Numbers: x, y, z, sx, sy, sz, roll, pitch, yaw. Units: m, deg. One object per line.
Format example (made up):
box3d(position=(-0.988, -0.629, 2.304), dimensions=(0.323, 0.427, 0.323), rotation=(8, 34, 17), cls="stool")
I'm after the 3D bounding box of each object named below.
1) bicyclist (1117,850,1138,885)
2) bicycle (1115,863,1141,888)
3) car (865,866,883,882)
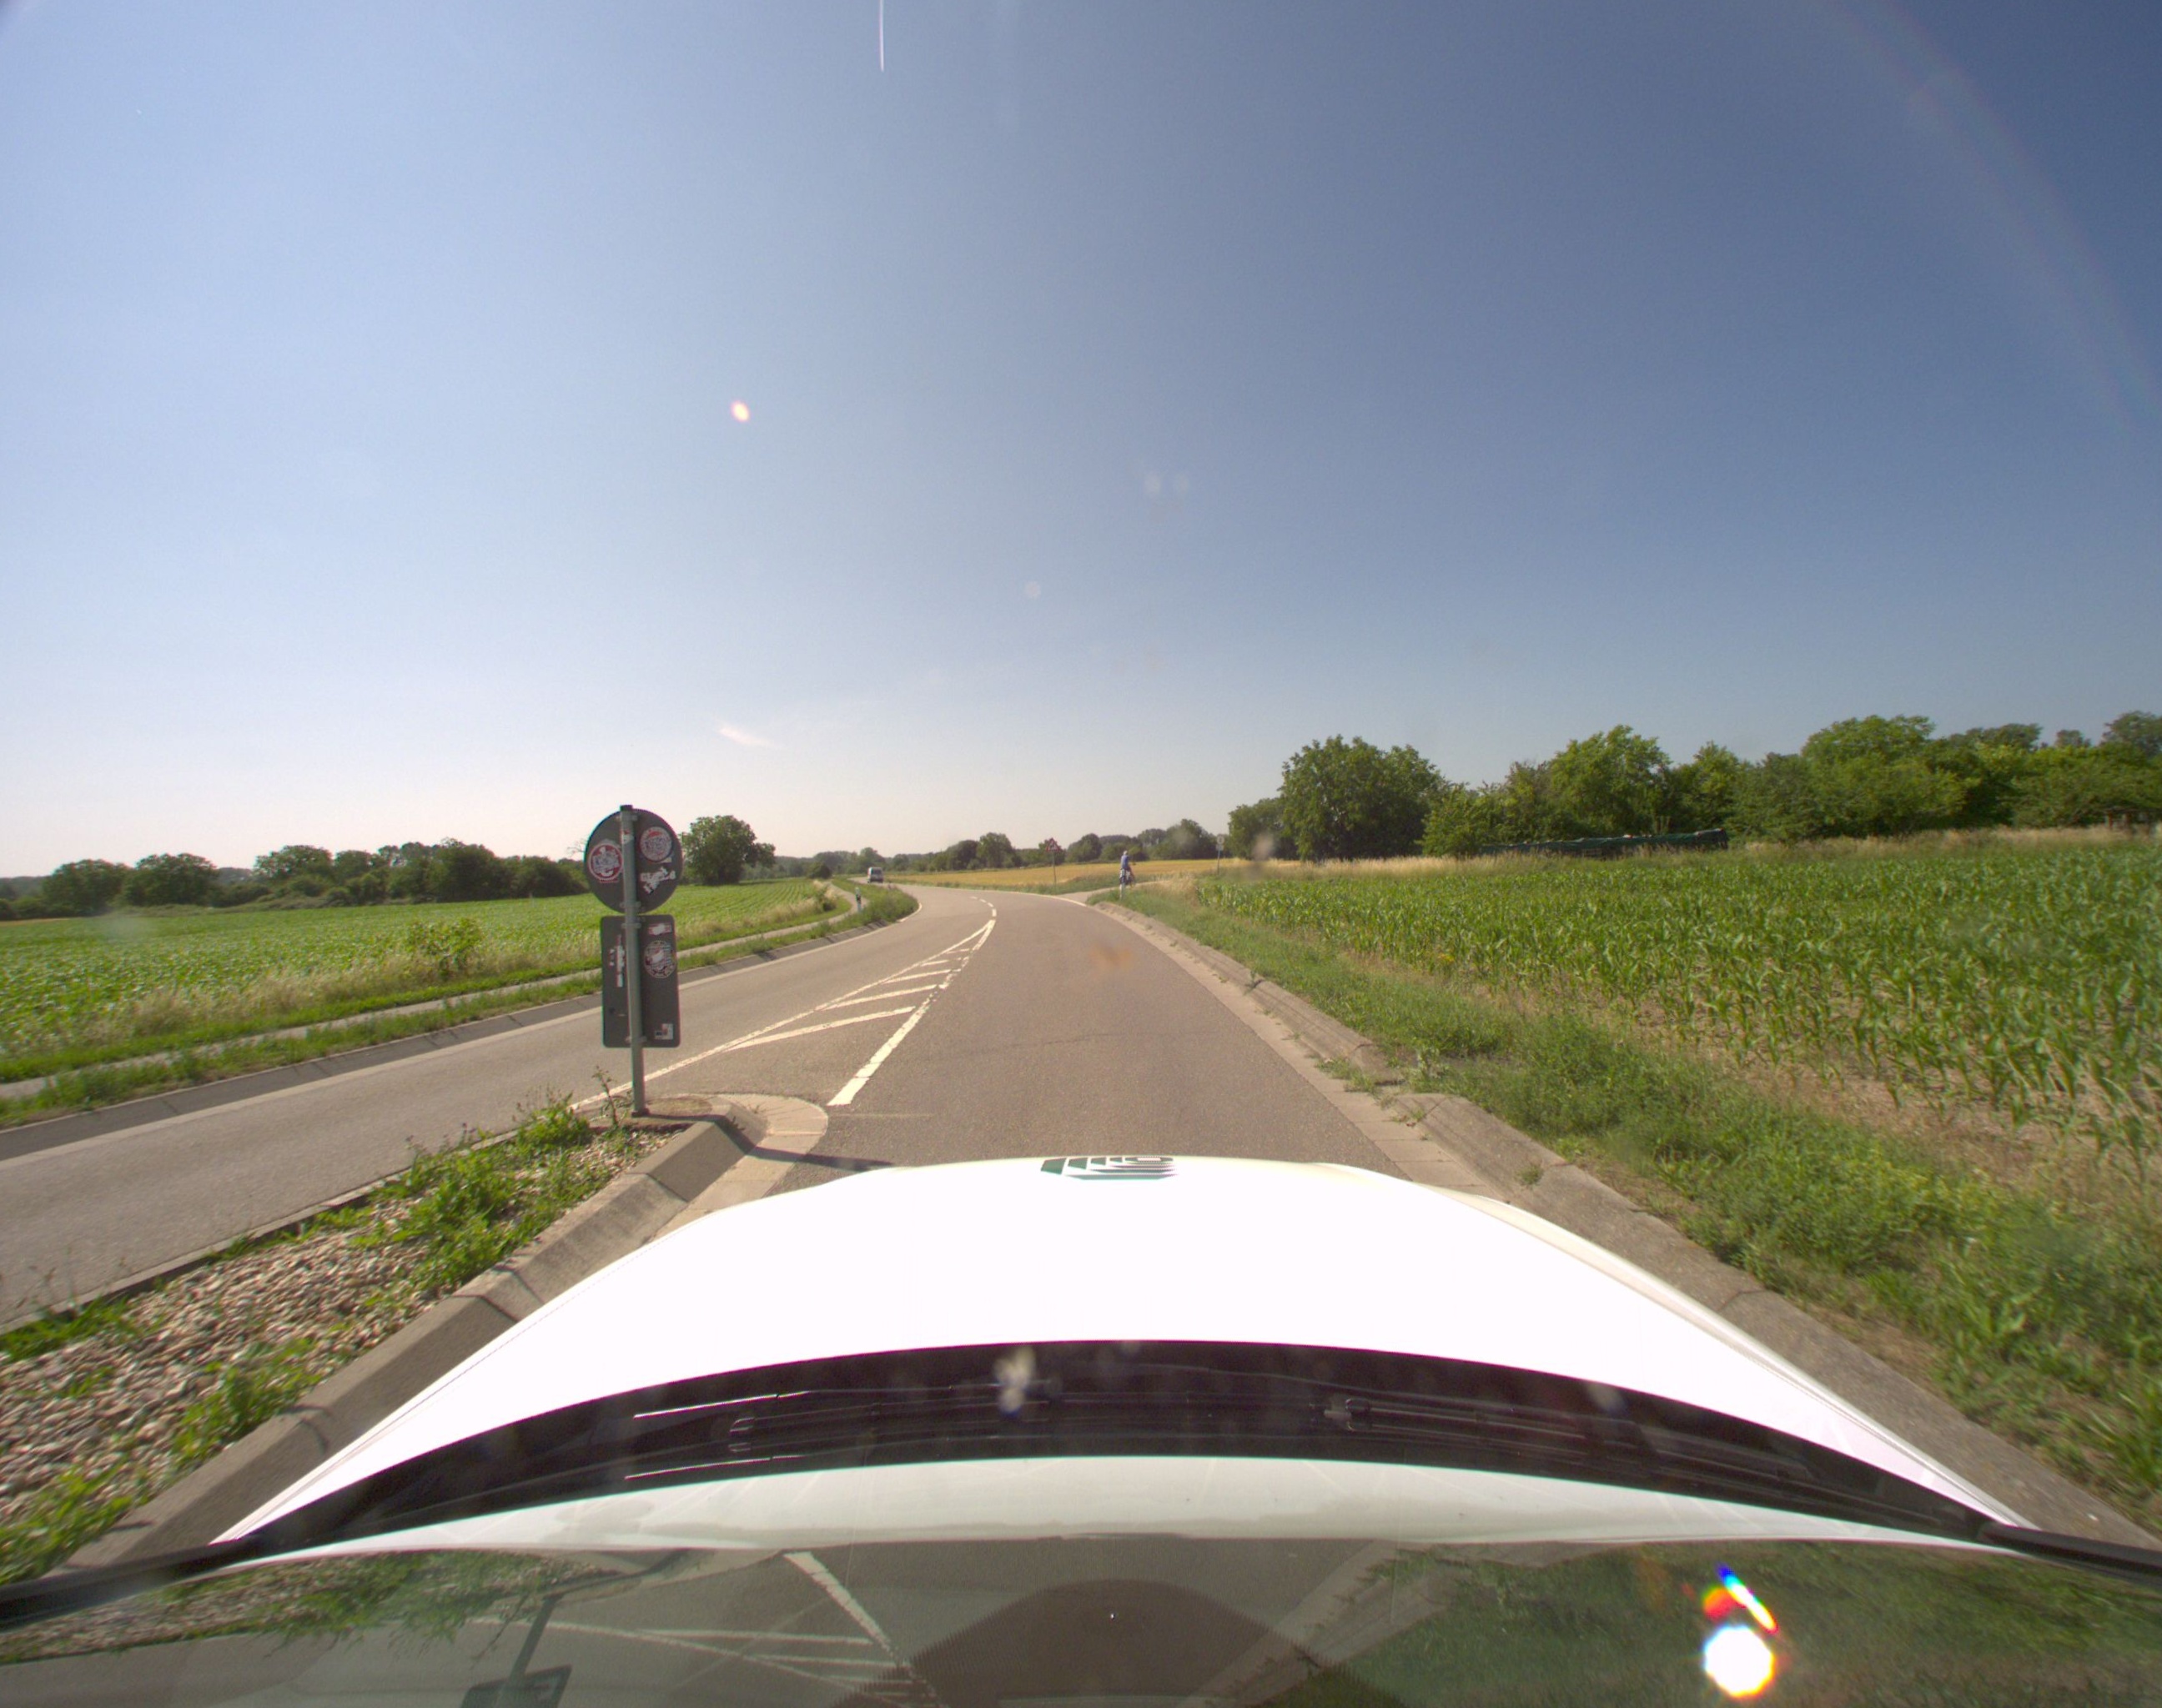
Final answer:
box3d(position=(2.199, 0.631, 38.217), dimensions=(0.666, 1.574, 0.740), rotation=(-4, -1, 26), cls="bicyclist")
box3d(position=(2.237, 0.993, 38.251), dimensions=(0.515, 1.115, 1.780), rotation=(-4, -1, 26), cls="bicycle")
box3d(position=(-32.798, 3.212, 128.994), dimensions=(2.111, 2.367, 5.649), rotation=(-3, 0, -19), cls="car")
